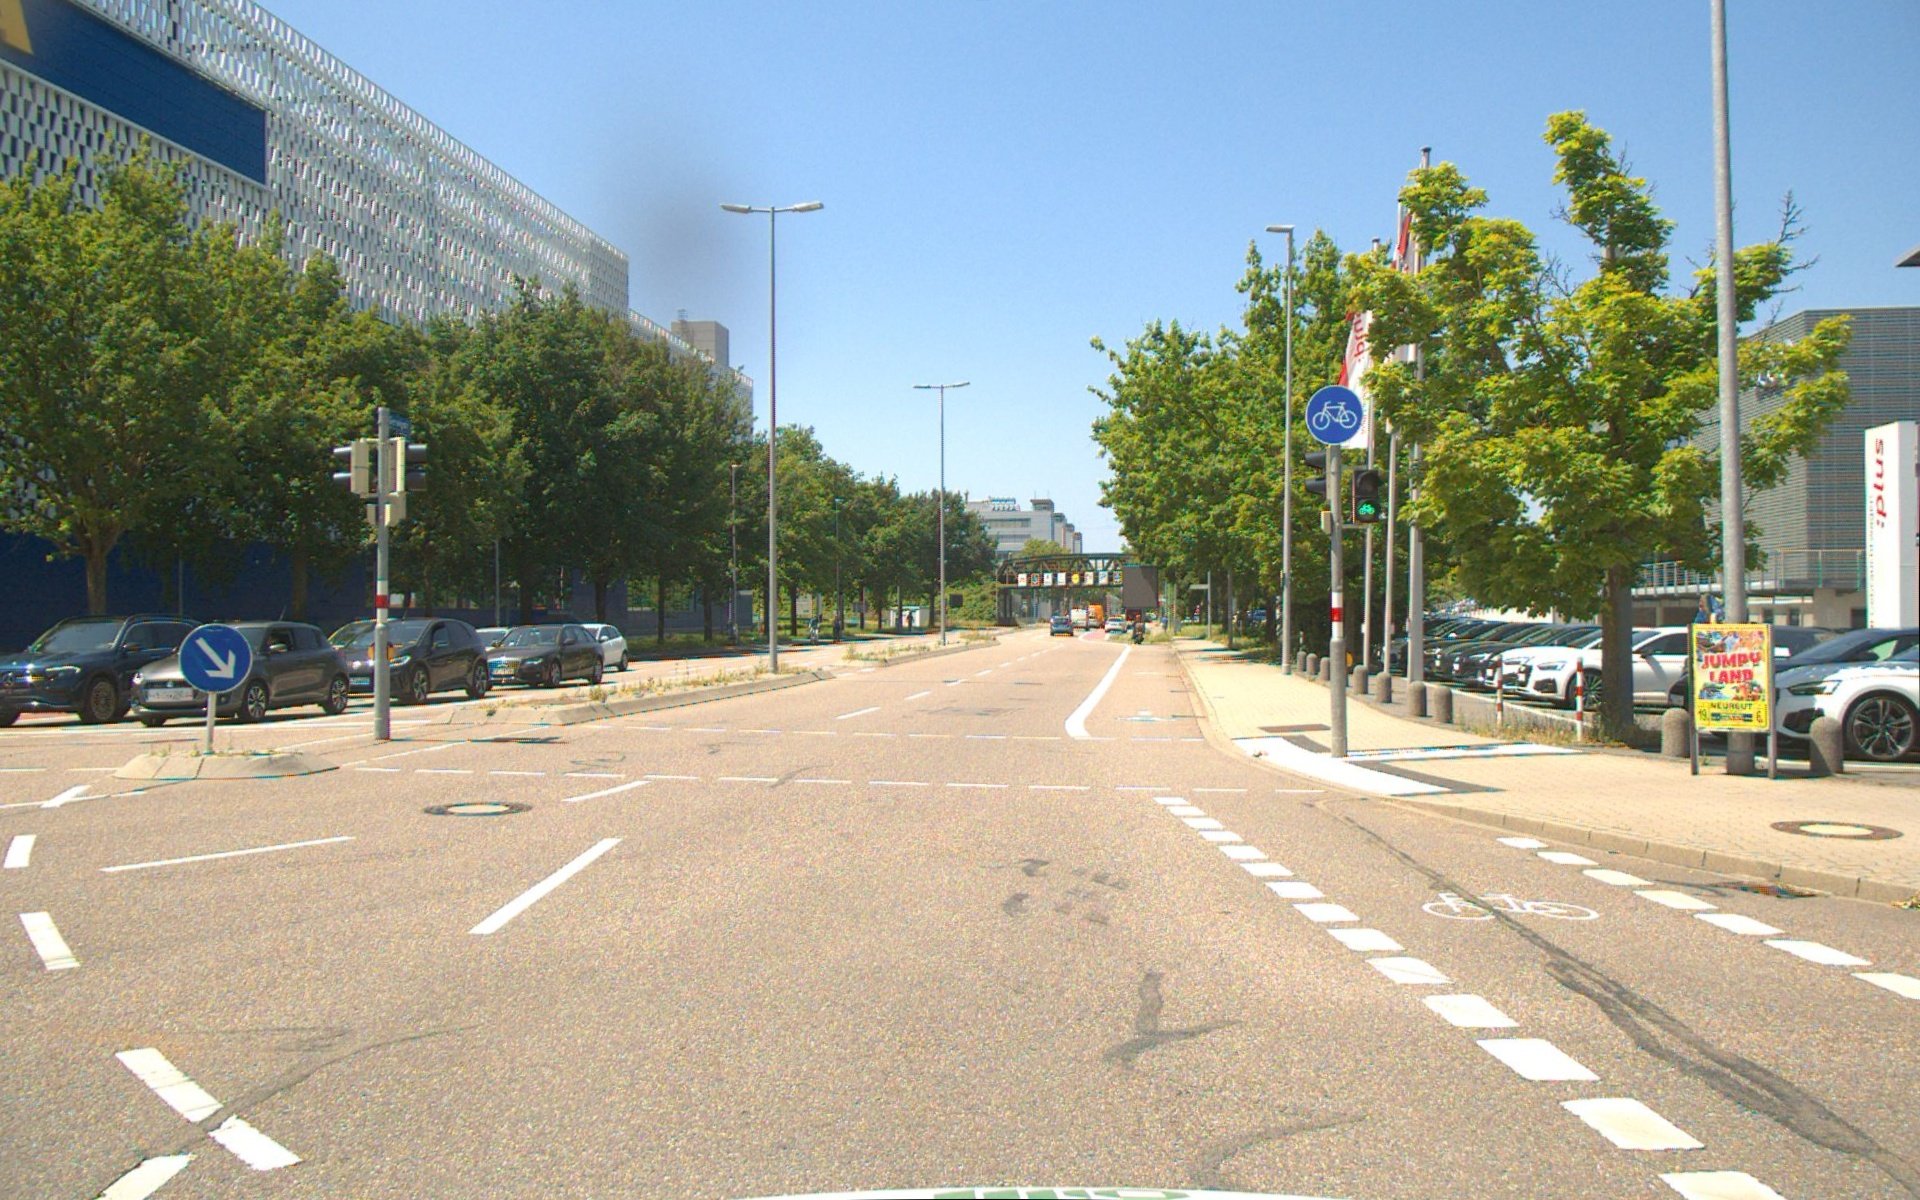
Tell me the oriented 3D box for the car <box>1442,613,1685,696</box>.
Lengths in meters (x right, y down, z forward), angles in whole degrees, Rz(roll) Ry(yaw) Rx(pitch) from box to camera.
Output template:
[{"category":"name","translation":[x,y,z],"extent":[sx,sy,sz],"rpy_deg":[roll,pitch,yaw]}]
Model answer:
[{"category":"car","translation":[11.818,1.053,32.623],"extent":[4.136,1.414,1.870],"rpy_deg":[2,0,6]}]

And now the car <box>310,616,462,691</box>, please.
[{"category":"car","translation":[-12.740,1.167,36.969],"extent":[1.690,1.571,3.918],"rpy_deg":[-1,-1,6]}]

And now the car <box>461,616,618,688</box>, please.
[{"category":"car","translation":[-9.471,1.147,37.678],"extent":[1.690,1.471,4.723],"rpy_deg":[-2,-1,9]}]

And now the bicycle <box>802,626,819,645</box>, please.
[{"category":"bicycle","translation":[-9.171,2.163,101.602],"extent":[0.624,1.153,1.972],"rpy_deg":[0,-1,8]}]

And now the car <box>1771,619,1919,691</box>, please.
[{"category":"car","translation":[23.032,1.400,42.027],"extent":[3.901,1.683,1.852],"rpy_deg":[2,0,6]}]

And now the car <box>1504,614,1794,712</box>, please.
[{"category":"car","translation":[11.231,1.002,27.190],"extent":[4.009,1.388,1.875],"rpy_deg":[2,0,6]}]

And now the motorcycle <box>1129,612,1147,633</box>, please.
[{"category":"motorcycle","translation":[9.690,1.240,89.991],"extent":[0.702,1.124,1.829],"rpy_deg":[1,-1,-3]}]

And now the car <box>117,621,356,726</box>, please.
[{"category":"car","translation":[-10.795,1.055,24.962],"extent":[1.609,1.413,3.718],"rpy_deg":[-2,-1,7]}]

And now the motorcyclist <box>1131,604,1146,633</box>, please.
[{"category":"motorcyclist","translation":[9.711,0.982,89.984],"extent":[0.705,1.556,0.870],"rpy_deg":[1,-1,-3]}]

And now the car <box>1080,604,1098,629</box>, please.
[{"category":"car","translation":[15.558,1.984,199.551],"extent":[2.029,2.904,6.769],"rpy_deg":[0,-1,6]}]

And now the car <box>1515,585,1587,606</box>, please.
[{"category":"car","translation":[36.583,-0.283,102.378],"extent":[3.857,1.232,1.718],"rpy_deg":[1,-1,2]}]

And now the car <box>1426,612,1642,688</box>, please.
[{"category":"car","translation":[12.233,1.049,35.456],"extent":[4.014,1.429,1.870],"rpy_deg":[2,0,6]}]

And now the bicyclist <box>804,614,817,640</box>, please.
[{"category":"bicyclist","translation":[-9.191,1.638,101.552],"extent":[0.623,1.610,0.885],"rpy_deg":[0,-1,7]}]

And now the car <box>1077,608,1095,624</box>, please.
[{"category":"car","translation":[14.215,1.791,186.170],"extent":[1.854,1.847,4.003],"rpy_deg":[0,0,6]}]

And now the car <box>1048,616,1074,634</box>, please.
[{"category":"car","translation":[7.946,1.945,130.305],"extent":[1.860,1.400,4.234],"rpy_deg":[0,-1,6]}]

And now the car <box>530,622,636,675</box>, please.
[{"category":"car","translation":[-11.350,1.434,50.092],"extent":[1.690,1.471,4.455],"rpy_deg":[-2,-1,7]}]

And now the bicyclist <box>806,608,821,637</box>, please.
[{"category":"bicyclist","translation":[-8.706,1.360,98.341],"extent":[0.729,1.715,0.953],"rpy_deg":[0,-1,6]}]

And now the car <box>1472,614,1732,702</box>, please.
[{"category":"car","translation":[11.543,1.022,29.951],"extent":[4.012,1.372,1.870],"rpy_deg":[2,0,6]}]

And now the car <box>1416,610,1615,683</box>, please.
[{"category":"car","translation":[12.748,1.059,38.185],"extent":[4.014,1.479,1.870],"rpy_deg":[2,0,6]}]

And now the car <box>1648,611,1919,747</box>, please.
[{"category":"car","translation":[10.400,0.916,19.281],"extent":[4.009,1.414,1.870],"rpy_deg":[2,0,6]}]

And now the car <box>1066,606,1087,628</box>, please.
[{"category":"car","translation":[11.277,1.654,159.959],"extent":[1.951,2.049,4.002],"rpy_deg":[0,-1,6]}]

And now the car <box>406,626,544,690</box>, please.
[{"category":"car","translation":[-12.232,1.428,42.014],"extent":[1.709,1.447,4.626],"rpy_deg":[-2,0,6]}]

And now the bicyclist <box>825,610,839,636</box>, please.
[{"category":"bicyclist","translation":[-8.252,1.498,106.597],"extent":[0.620,1.657,1.045],"rpy_deg":[-2,-1,6]}]

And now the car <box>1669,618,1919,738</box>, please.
[{"category":"car","translation":[11.654,1.015,23.375],"extent":[1.823,1.444,4.666],"rpy_deg":[2,0,8]}]

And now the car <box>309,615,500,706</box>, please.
[{"category":"car","translation":[-10.277,1.099,30.942],"extent":[1.690,1.531,4.246],"rpy_deg":[-2,-1,7]}]

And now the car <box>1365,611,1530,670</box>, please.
[{"category":"car","translation":[13.604,1.113,46.350],"extent":[4.142,1.426,1.817],"rpy_deg":[2,0,6]}]

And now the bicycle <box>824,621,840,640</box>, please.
[{"category":"bicycle","translation":[-8.229,1.976,106.648],"extent":[0.615,1.179,2.119],"rpy_deg":[-2,-1,6]}]

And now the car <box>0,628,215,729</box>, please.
[{"category":"car","translation":[-13.706,1.189,26.207],"extent":[1.625,1.449,4.041],"rpy_deg":[-1,-1,6]}]

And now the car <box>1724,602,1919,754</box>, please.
[{"category":"car","translation":[10.423,0.822,16.750],"extent":[4.495,1.414,1.870],"rpy_deg":[2,0,8]}]

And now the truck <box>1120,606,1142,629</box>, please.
[{"category":"truck","translation":[19.422,1.992,187.944],"extent":[2.406,2.452,7.138],"rpy_deg":[1,0,6]}]

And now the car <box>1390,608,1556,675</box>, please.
[{"category":"car","translation":[12.674,1.001,41.036],"extent":[3.603,1.479,1.835],"rpy_deg":[2,0,7]}]

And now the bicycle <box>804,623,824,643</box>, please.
[{"category":"bicycle","translation":[-8.695,1.942,98.397],"extent":[0.723,1.145,2.436],"rpy_deg":[0,-1,6]}]

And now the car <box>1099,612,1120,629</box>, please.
[{"category":"car","translation":[13.457,1.847,148.525],"extent":[1.883,1.445,4.002],"rpy_deg":[0,0,6]}]

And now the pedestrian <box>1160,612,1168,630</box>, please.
[{"category":"pedestrian","translation":[16.281,1.659,132.237],"extent":[0.610,1.399,0.565],"rpy_deg":[0,-1,5]}]

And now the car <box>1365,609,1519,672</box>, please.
[{"category":"car","translation":[12.692,1.054,43.734],"extent":[3.603,1.479,1.835],"rpy_deg":[2,0,7]}]
